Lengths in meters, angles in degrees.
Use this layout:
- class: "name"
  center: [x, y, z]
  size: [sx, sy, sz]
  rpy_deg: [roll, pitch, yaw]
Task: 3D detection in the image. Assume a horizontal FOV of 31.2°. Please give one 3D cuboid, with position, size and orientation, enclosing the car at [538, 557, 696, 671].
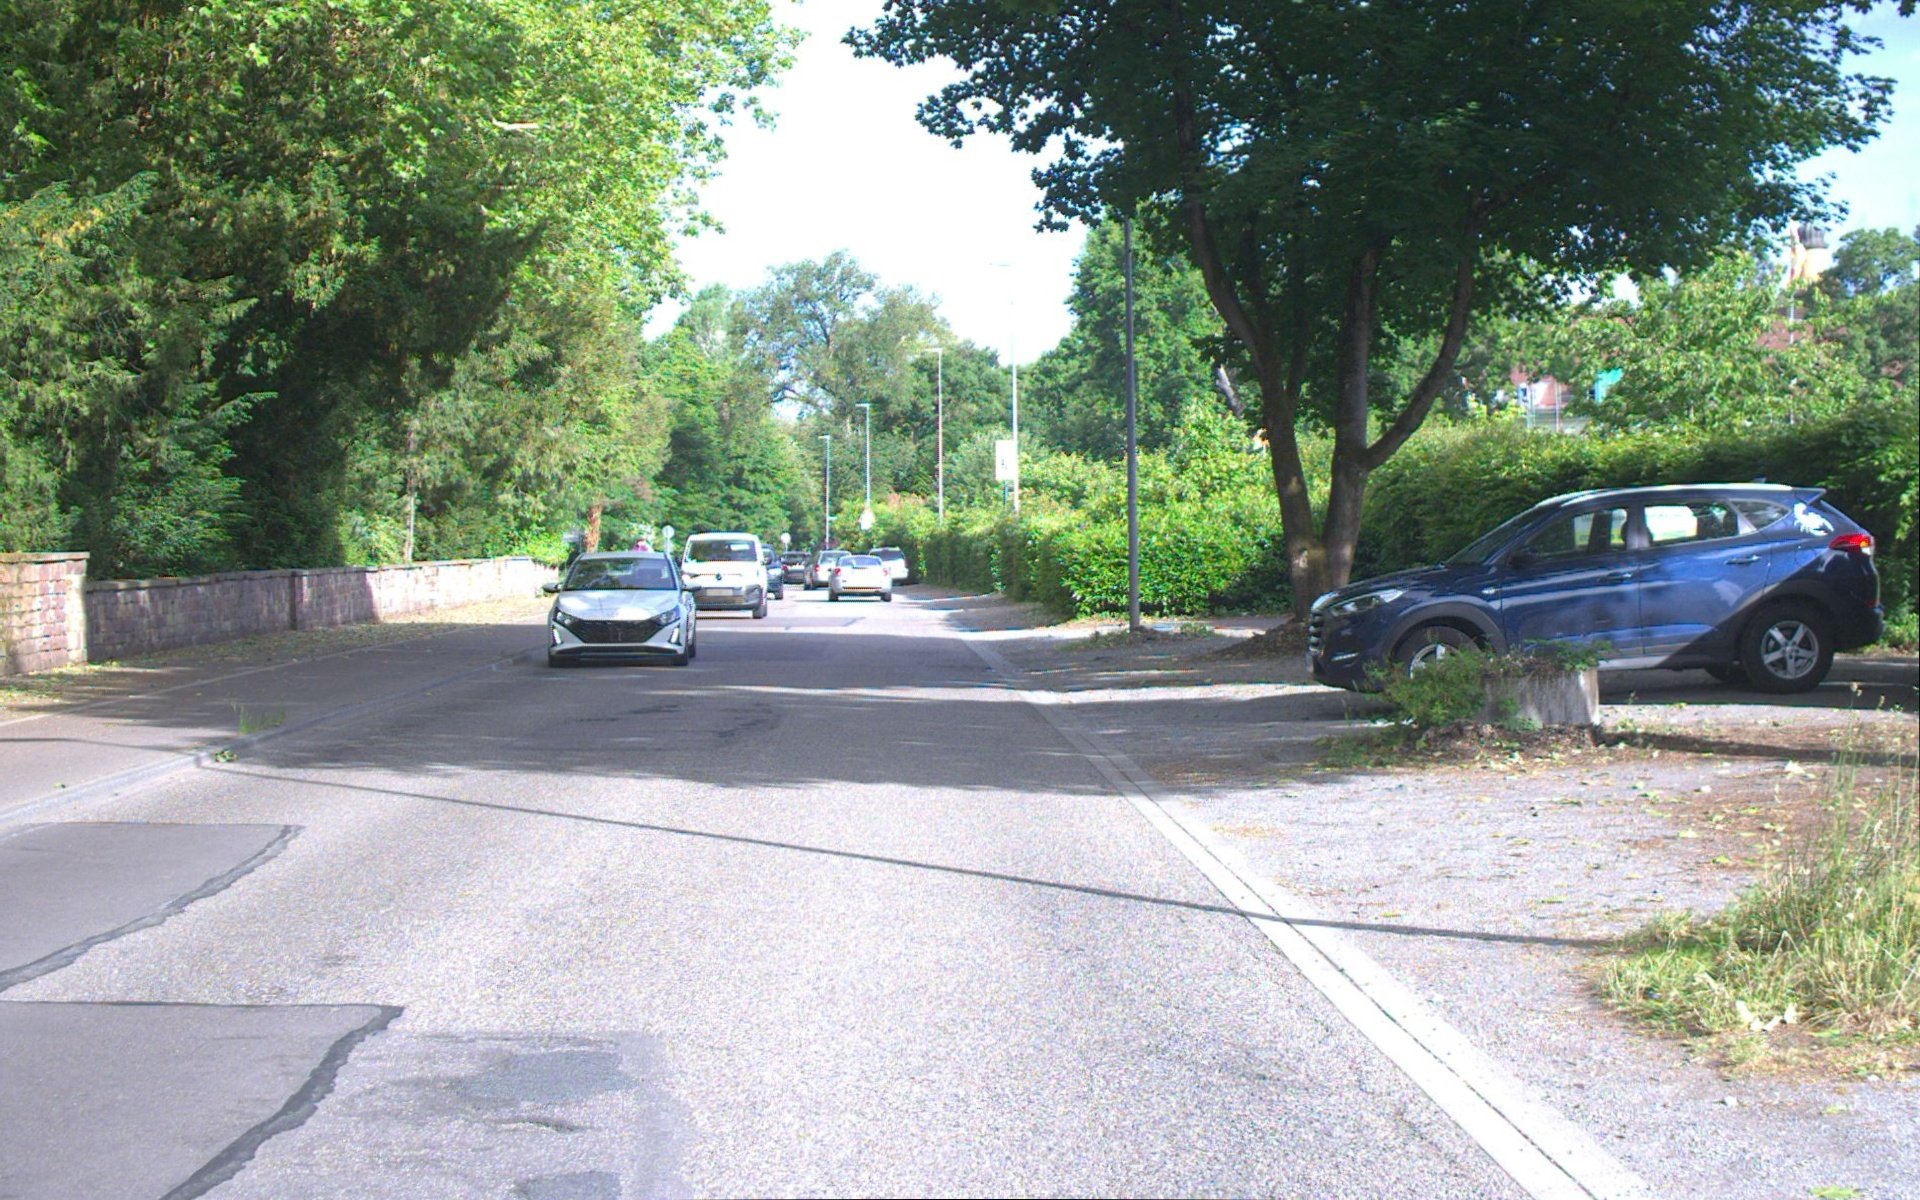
- class: "car"
  center: [-4.368, 0.146, 44.290]
  size: [1.886, 1.367, 4.055]
  rpy_deg: [-1, 1, -4]

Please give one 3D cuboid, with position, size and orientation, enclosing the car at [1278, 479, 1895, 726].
- class: "car"
  center: [4.855, 0.002, 27.122]
  size: [4.403, 1.641, 2.000]
  rpy_deg: [-3, 1, -1]

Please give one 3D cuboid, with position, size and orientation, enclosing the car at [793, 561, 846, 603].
- class: "car"
  center: [-5.097, -0.668, 124.553]
  size: [1.886, 1.460, 4.055]
  rpy_deg: [-1, 1, -3]

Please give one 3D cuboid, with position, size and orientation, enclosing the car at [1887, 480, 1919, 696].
- class: "car"
  center: [7.789, -0.103, 25.290]
  size: [1.351, 1.627, 4.110]
  rpy_deg: [-3, 1, 9]

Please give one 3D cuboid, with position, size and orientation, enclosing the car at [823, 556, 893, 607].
- class: "car"
  center: [-2.905, -0.535, 97.187]
  size: [1.886, 1.367, 4.055]
  rpy_deg: [-1, 1, -3]

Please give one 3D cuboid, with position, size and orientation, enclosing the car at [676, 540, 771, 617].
- class: "car"
  center: [-4.972, -0.475, 72.689]
  size: [1.886, 1.559, 4.055]
  rpy_deg: [-1, 1, -3]

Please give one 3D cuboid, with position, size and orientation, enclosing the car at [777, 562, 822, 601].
- class: "car"
  center: [-6.865, -0.808, 147.227]
  size: [1.886, 1.608, 4.055]
  rpy_deg: [-1, 1, -3]
